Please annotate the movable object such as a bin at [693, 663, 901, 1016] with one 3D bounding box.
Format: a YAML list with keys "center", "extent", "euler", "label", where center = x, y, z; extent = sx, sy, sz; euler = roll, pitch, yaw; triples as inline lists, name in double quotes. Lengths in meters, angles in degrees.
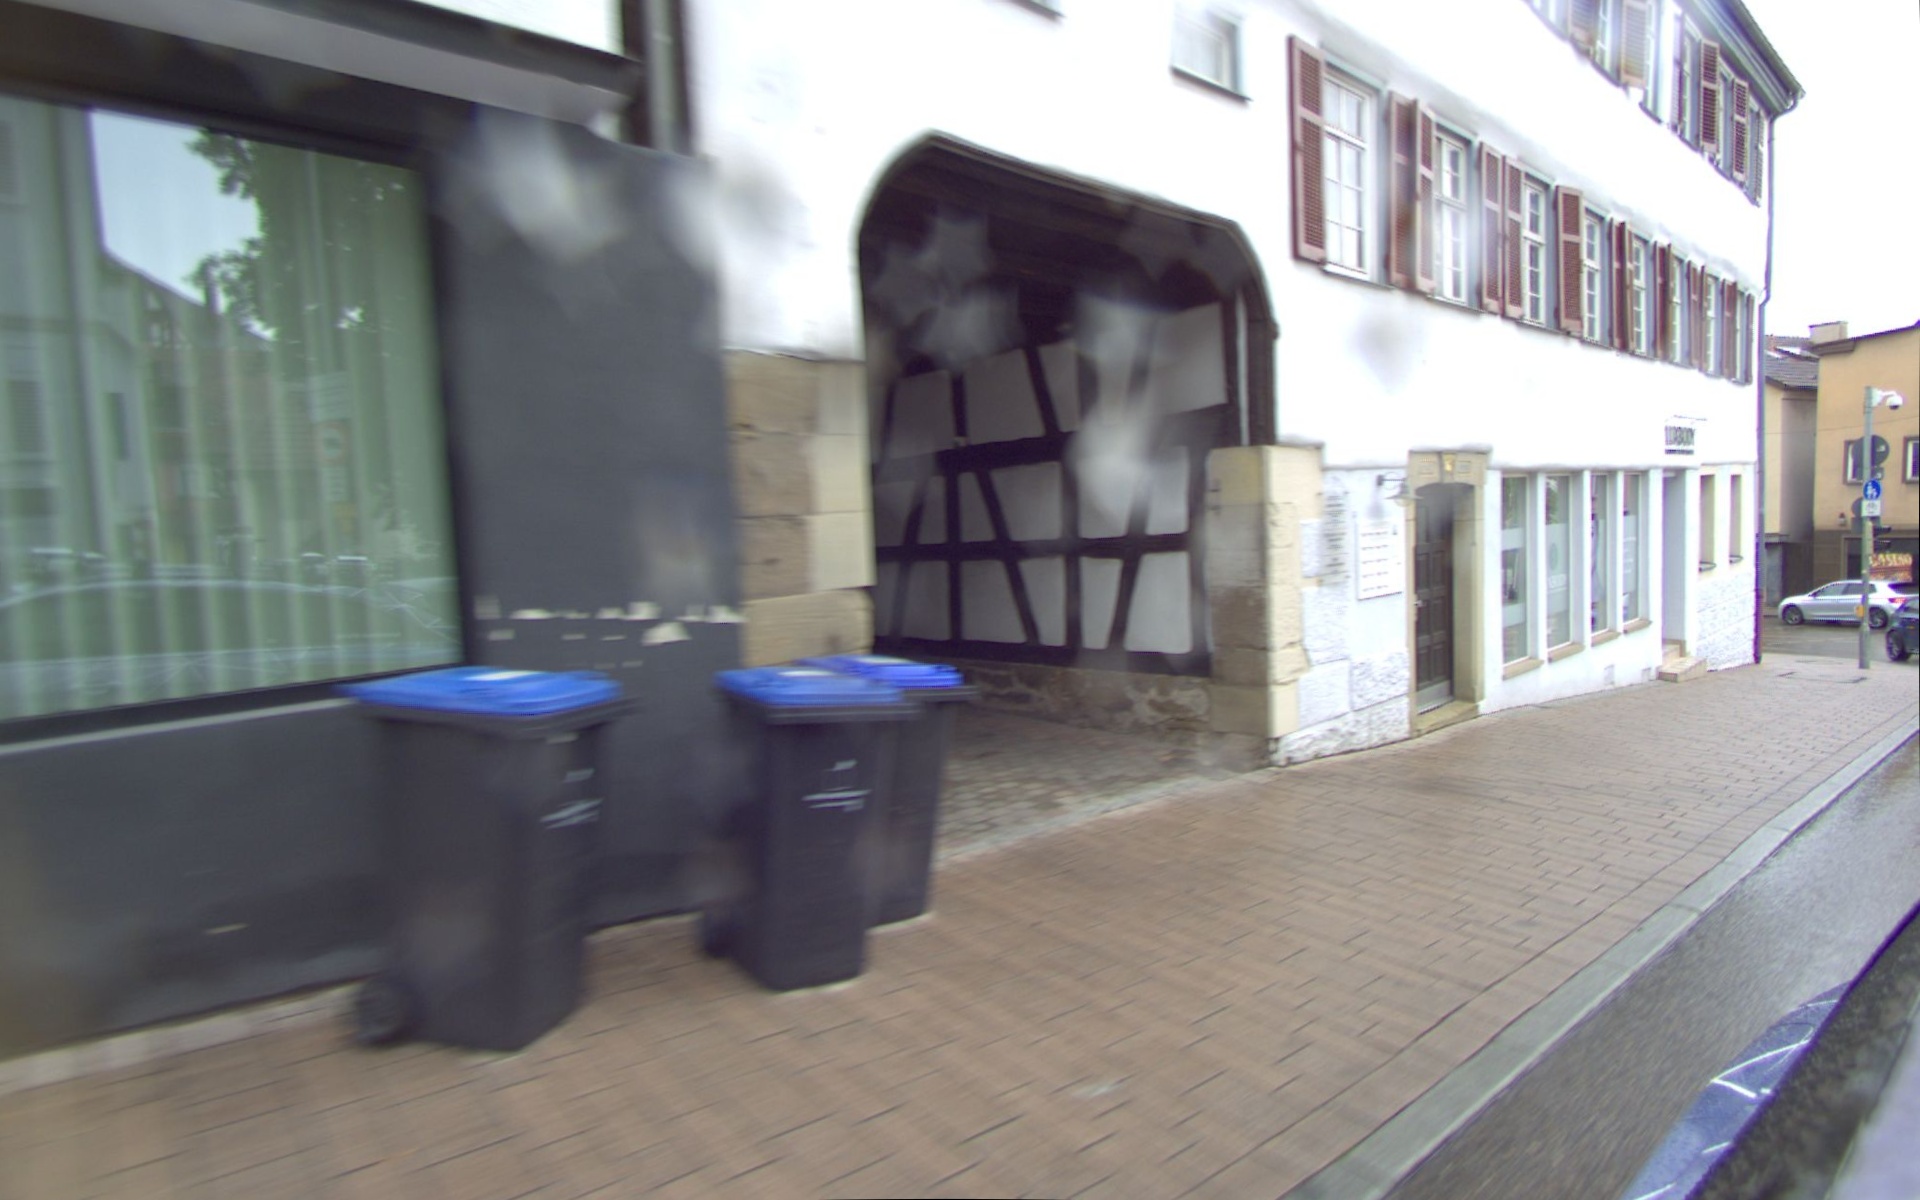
- center: [-0.589, 0.789, 3.596]
  extent: [0.468, 1.040, 0.596]
  euler: [-1, 4, -41]
  label: "movable object such as a bin"

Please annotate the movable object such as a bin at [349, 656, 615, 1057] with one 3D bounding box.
- center: [-1.417, 0.724, 3.051]
  extent: [0.561, 1.040, 0.468]
  euler: [2, 3, 7]
  label: "movable object such as a bin"

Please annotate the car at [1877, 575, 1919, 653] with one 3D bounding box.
- center: [20.665, 0.328, 20.144]
  extent: [1.944, 1.627, 4.356]
  euler: [2, 1, 19]
  label: "car"

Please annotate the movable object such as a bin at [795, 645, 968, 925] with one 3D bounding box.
- center: [-0.348, 0.753, 4.393]
  extent: [0.468, 1.040, 0.596]
  euler: [-1, 4, -41]
  label: "movable object such as a bin"

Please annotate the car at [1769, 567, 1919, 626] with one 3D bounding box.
- center: [28.232, -0.156, 31.650]
  extent: [1.928, 1.627, 4.392]
  euler: [1, 3, -8]
  label: "car"

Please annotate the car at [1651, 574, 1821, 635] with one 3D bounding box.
- center: [22.638, 0.070, 29.775]
  extent: [1.934, 1.627, 4.377]
  euler: [0, 1, 6]
  label: "car"
